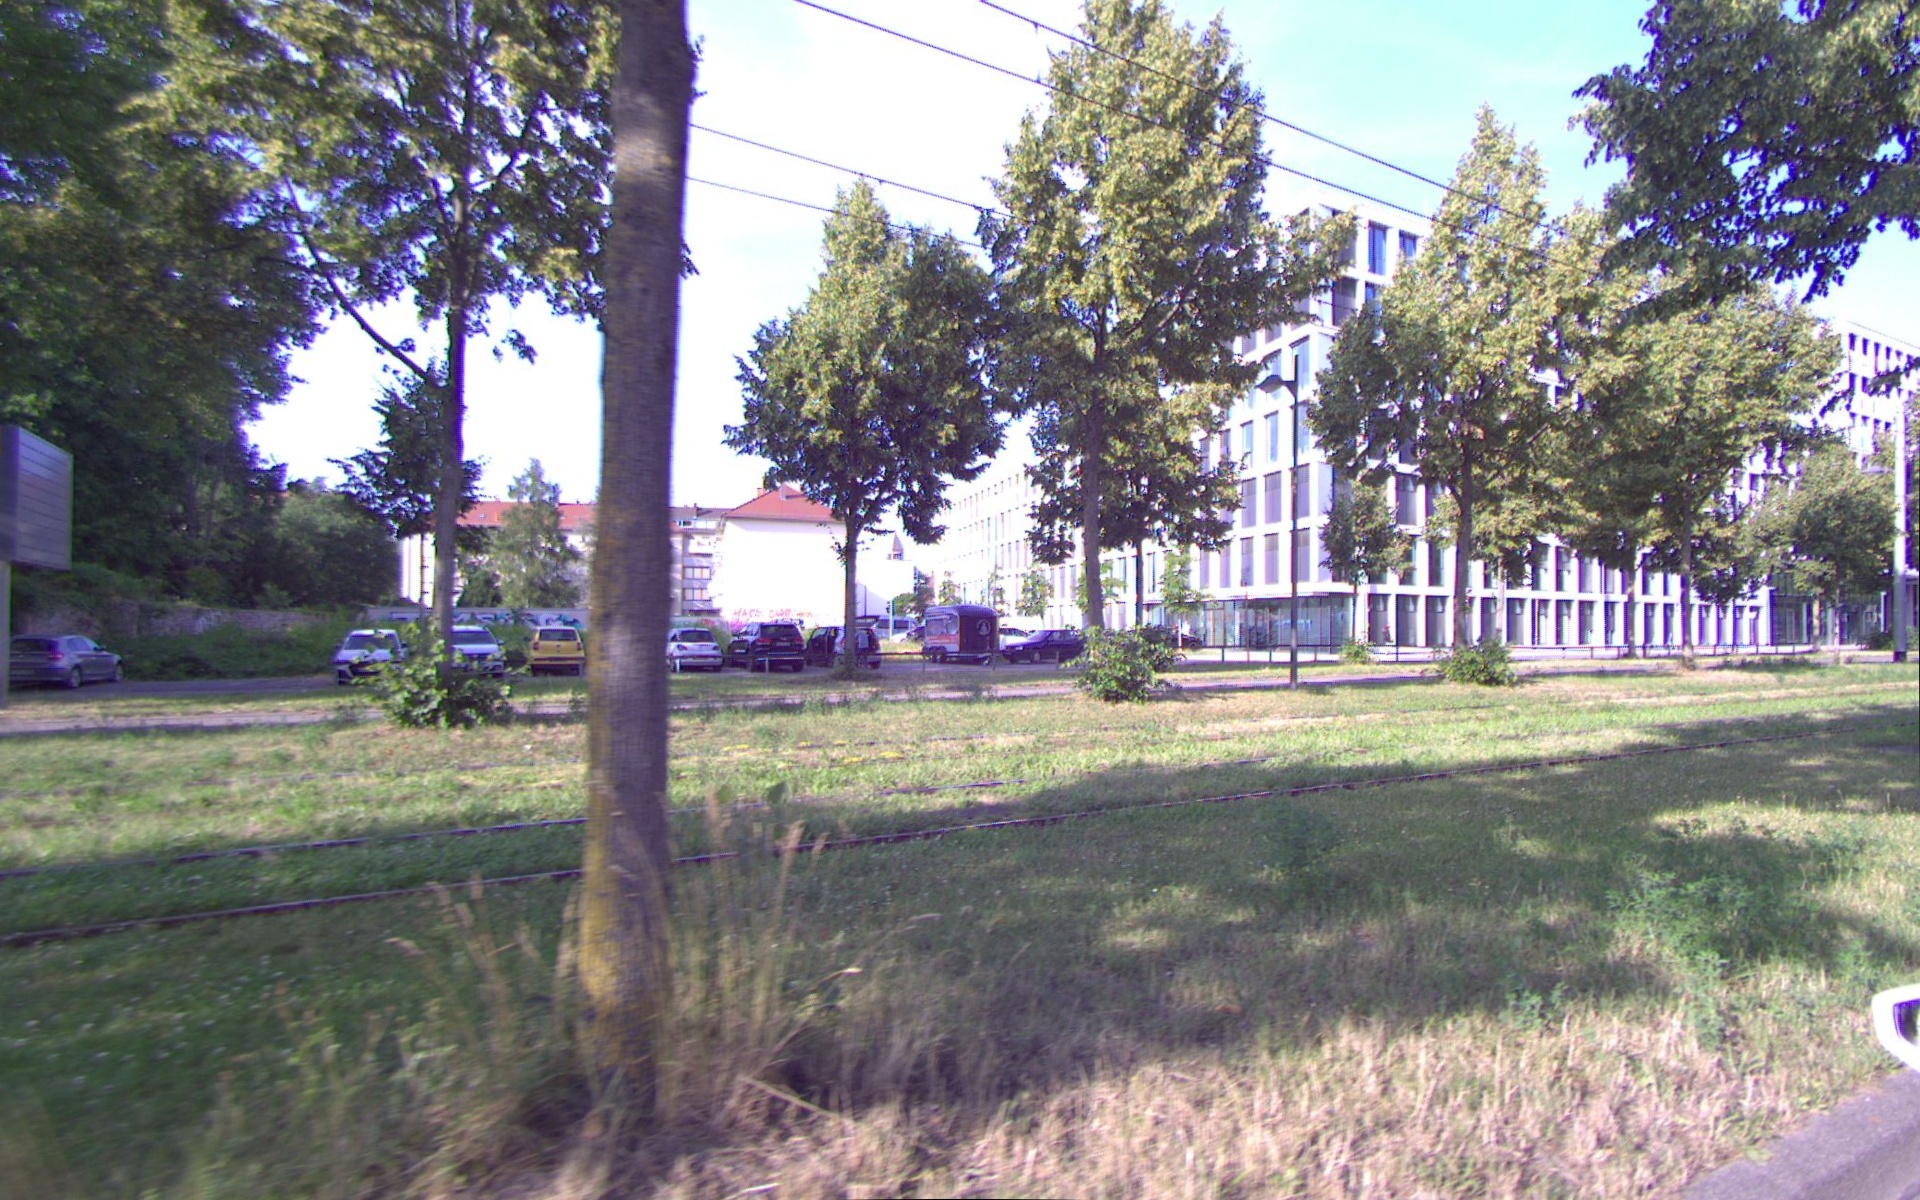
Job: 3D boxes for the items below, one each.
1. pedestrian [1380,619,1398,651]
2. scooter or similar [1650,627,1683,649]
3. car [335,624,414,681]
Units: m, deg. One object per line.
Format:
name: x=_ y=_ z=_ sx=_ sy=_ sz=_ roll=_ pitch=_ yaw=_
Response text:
pedestrian: x=23.534 y=1.918 z=55.085 sx=0.683 sy=1.751 sz=0.565 roll=1 pitch=1 yaw=-30
scooter or similar: x=49.108 y=2.635 z=69.857 sx=0.409 sy=1.496 sz=1.922 roll=1 pitch=0 yaw=-25
car: x=-17.303 y=1.524 z=29.811 sx=1.786 sy=1.447 sz=3.633 roll=2 pitch=0 yaw=-27
